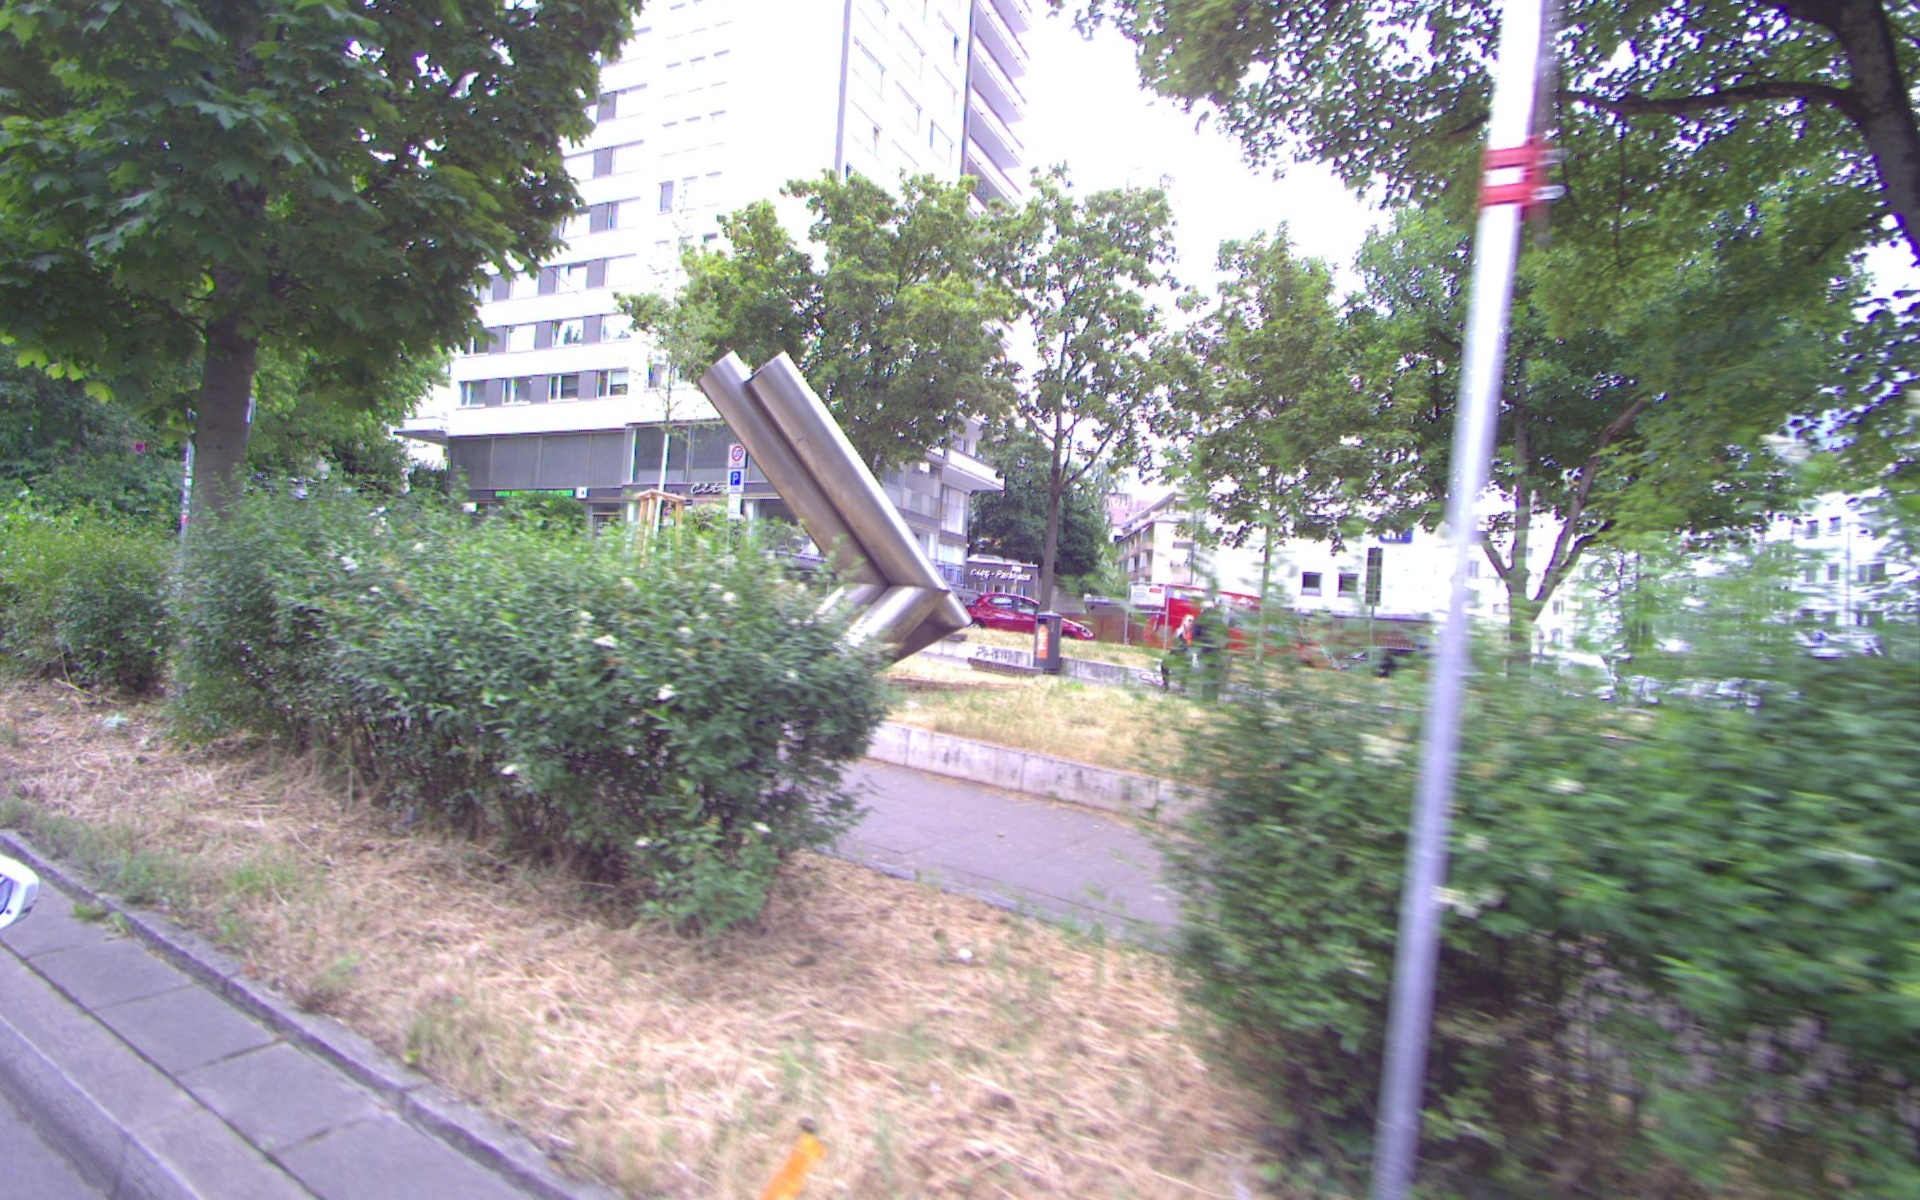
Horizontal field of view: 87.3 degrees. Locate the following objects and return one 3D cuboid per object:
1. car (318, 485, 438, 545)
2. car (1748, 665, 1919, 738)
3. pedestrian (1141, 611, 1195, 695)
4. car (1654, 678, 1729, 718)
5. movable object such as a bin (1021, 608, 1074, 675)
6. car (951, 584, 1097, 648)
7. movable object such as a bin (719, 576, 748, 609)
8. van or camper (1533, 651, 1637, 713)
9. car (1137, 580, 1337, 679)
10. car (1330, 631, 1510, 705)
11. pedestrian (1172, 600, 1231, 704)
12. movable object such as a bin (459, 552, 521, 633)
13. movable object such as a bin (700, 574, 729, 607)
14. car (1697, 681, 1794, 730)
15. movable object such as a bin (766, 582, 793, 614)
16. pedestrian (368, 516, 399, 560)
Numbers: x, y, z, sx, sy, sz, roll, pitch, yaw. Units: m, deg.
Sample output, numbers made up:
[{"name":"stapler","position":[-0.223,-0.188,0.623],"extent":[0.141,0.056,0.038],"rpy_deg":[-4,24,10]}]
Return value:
[{"name":"car","position":[-26.076,-3.772,45.221],"extent":[1.964,2.039,4.140],"rpy_deg":[7,0,24]},{"name":"car","position":[24.131,2.746,27.199],"extent":[4.070,1.514,1.757],"rpy_deg":[6,-4,6]},{"name":"pedestrian","position":[3.479,0.883,16.787],"extent":[0.609,1.317,0.549],"rpy_deg":[7,1,30]},{"name":"car","position":[37.429,5.017,51.586],"extent":[1.588,1.821,3.674],"rpy_deg":[6,-4,11]},{"name":"movable object such as a bin","position":[1.564,0.741,17.979],"extent":[0.599,1.094,0.670],"rpy_deg":[4,-4,32]},{"name":"car","position":[1.785,0.475,28.223],"extent":[3.848,1.293,1.623],"rpy_deg":[6,-4,4]},{"name":"movable object such as a bin","position":[-8.377,-0.259,37.283],"extent":[0.700,1.117,0.824],"rpy_deg":[7,1,8]},{"name":"van or camper","position":[26.691,3.595,43.196],"extent":[2.257,2.254,5.452],"rpy_deg":[5,-4,17]},{"name":"car","position":[7.609,0.870,28.049],"extent":[4.888,2.050,2.033],"rpy_deg":[7,-3,4]},{"name":"car","position":[12.599,1.873,27.750],"extent":[4.071,1.524,1.756],"rpy_deg":[6,-4,3]},{"name":"pedestrian","position":[3.805,0.817,15.844],"extent":[0.609,1.562,0.549],"rpy_deg":[7,1,30]},{"name":"movable object such as a bin","position":[-6.833,-0.107,14.635],"extent":[0.556,1.108,0.494],"rpy_deg":[7,1,32]},{"name":"movable object such as a bin","position":[-9.091,-0.349,37.281],"extent":[0.700,1.117,0.824],"rpy_deg":[7,1,8]},{"name":"car","position":[35.474,4.778,45.572],"extent":[1.963,1.906,4.472],"rpy_deg":[5,-4,19]},{"name":"movable object such as a bin","position":[-6.723,-0.064,37.539],"extent":[0.668,1.117,0.824],"rpy_deg":[7,1,8]},{"name":"pedestrian","position":[-21.342,-2.296,37.224],"extent":[0.665,1.519,0.560],"rpy_deg":[6,1,6]}]
